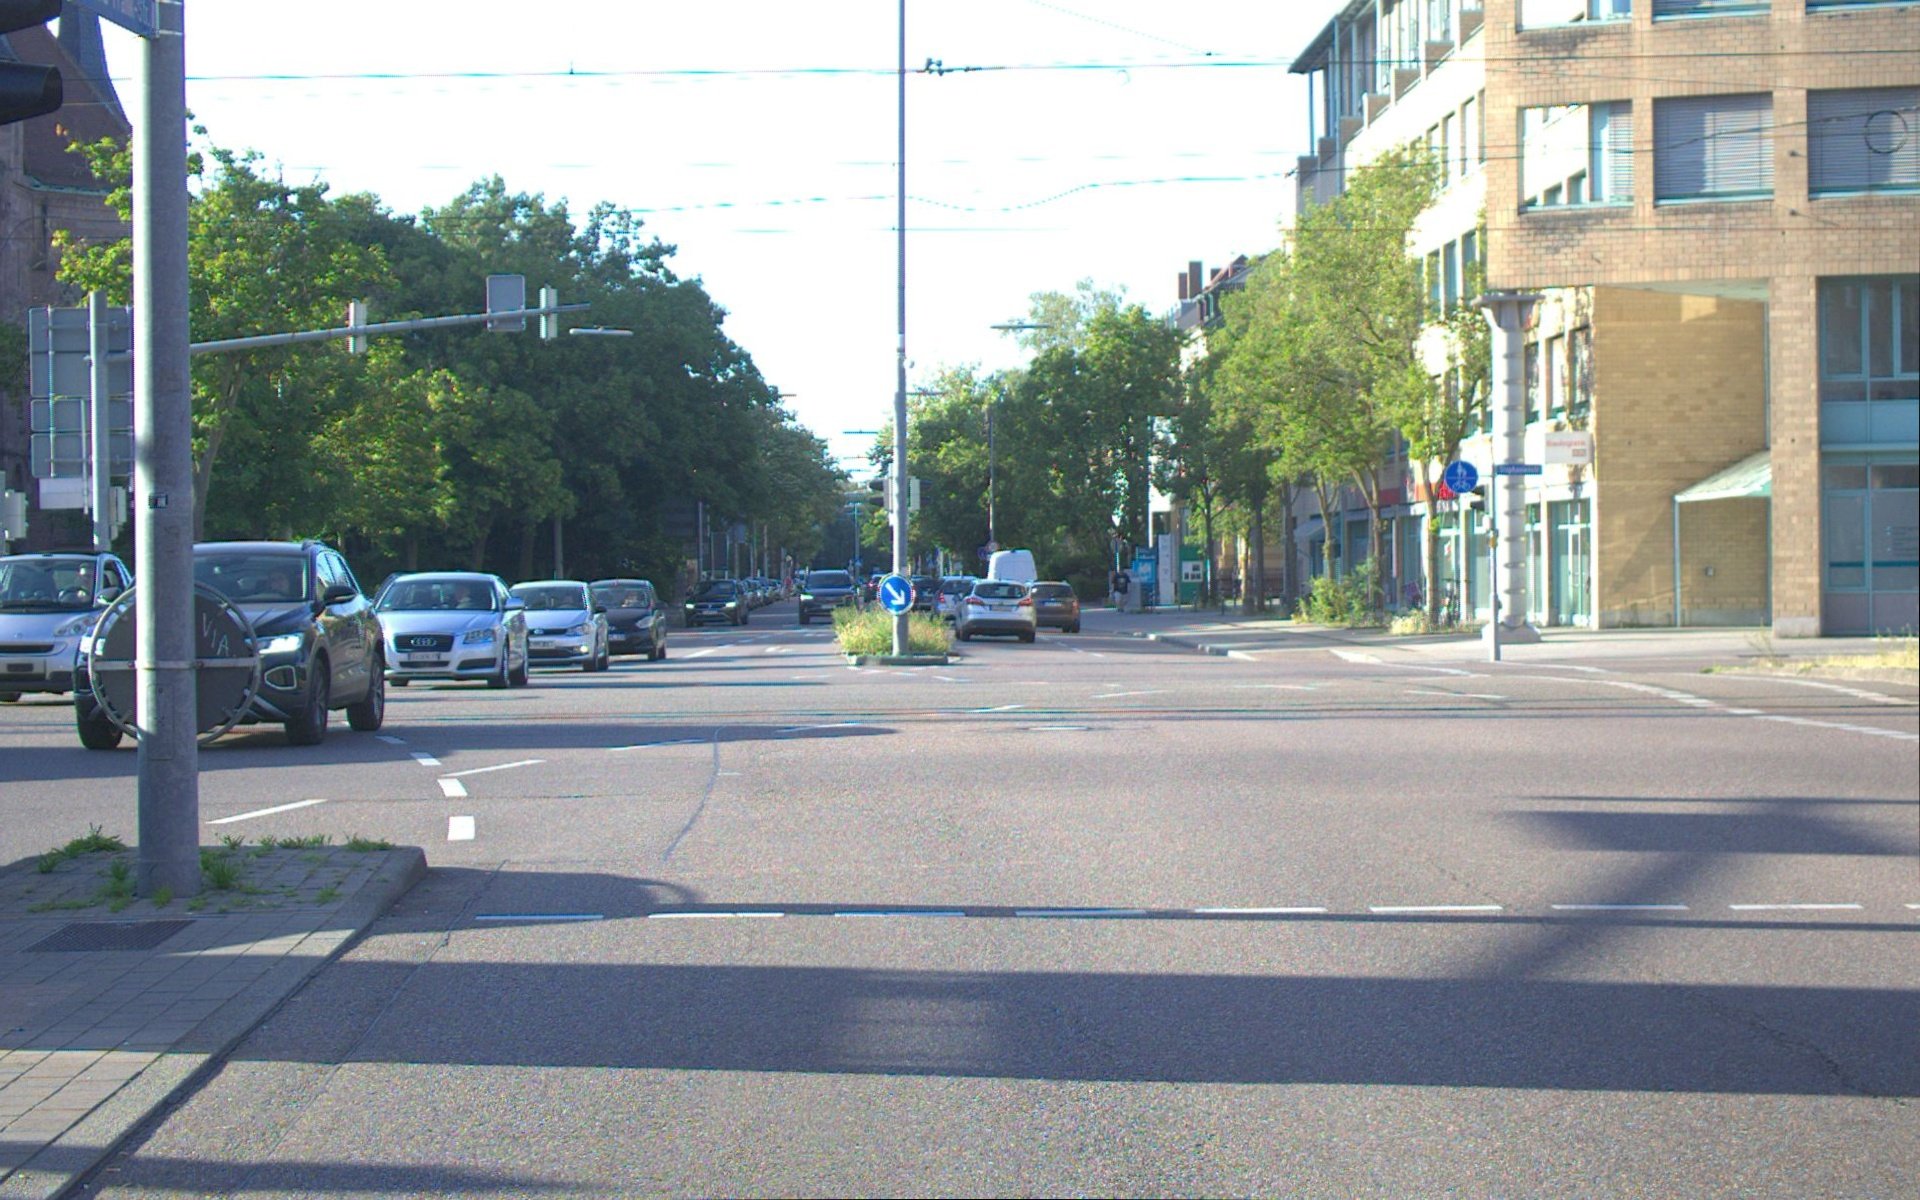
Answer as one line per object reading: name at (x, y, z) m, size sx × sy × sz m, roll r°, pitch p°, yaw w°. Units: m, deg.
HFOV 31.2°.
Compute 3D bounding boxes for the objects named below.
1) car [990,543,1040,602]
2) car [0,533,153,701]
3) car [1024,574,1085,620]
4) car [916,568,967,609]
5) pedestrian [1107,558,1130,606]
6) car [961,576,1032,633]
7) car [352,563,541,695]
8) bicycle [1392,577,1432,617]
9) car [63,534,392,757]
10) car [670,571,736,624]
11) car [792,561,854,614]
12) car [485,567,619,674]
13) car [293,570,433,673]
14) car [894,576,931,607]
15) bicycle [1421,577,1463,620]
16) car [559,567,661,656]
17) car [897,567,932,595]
car at (2.315, -1.185, 145.298) m, size 1.993 × 2.432 × 4.000 m, roll 1°, pitch 0°, yaw -1°
car at (-9.187, 0.146, 34.666) m, size 1.535 × 1.587 × 2.809 m, roll -2°, pitch 1°, yaw -4°
car at (2.674, -0.090, 97.967) m, size 1.594 × 1.263 × 3.266 m, roll 0°, pitch 1°, yaw -1°
car at (-0.608, -0.391, 111.345) m, size 1.594 × 1.263 × 3.266 m, roll 0°, pitch 1°, yaw -1°
pedestrian at (6.059, -0.695, 131.368) m, size 0.847 × 1.797 × 0.776 m, roll 0°, pitch 1°, yaw -1°
car at (0.846, 0.091, 81.557) m, size 1.594 × 1.263 × 3.266 m, roll 0°, pitch 1°, yaw -1°
car at (-6.198, 0.311, 41.863) m, size 1.708 × 1.420 × 4.103 m, roll -2°, pitch 1°, yaw -1°
bicycle at (11.238, -0.079, 85.501) m, size 0.646 × 0.991 × 2.081 m, roll 0°, pitch 0°, yaw -2°
car at (-5.617, 0.286, 26.835) m, size 1.675 × 1.539 × 4.103 m, roll -2°, pitch 1°, yaw 0°
car at (-8.654, -0.071, 115.960) m, size 1.993 × 1.718 × 4.593 m, roll -1°, pitch 0°, yaw -2°
car at (-4.526, -0.394, 114.229) m, size 1.993 × 1.718 × 5.031 m, roll -1°, pitch 0°, yaw -2°
car at (-6.426, 0.293, 54.457) m, size 1.675 × 1.539 × 3.806 m, roll -2°, pitch 1°, yaw -1°
car at (-9.819, 0.325, 56.748) m, size 1.675 × 1.539 × 3.638 m, roll -2°, pitch 1°, yaw -1°
car at (-2.047, -0.385, 148.354) m, size 1.594 × 1.263 × 3.266 m, roll 0°, pitch 1°, yaw -1°
bicycle at (11.342, -0.034, 80.950) m, size 0.646 × 0.991 × 2.081 m, roll 0°, pitch 0°, yaw -2°
car at (-6.566, 0.193, 64.732) m, size 1.578 × 1.539 × 3.477 m, roll -2°, pitch 1°, yaw -1°
car at (-2.116, -0.912, 160.670) m, size 1.594 × 1.263 × 3.266 m, roll 0°, pitch 1°, yaw -1°
